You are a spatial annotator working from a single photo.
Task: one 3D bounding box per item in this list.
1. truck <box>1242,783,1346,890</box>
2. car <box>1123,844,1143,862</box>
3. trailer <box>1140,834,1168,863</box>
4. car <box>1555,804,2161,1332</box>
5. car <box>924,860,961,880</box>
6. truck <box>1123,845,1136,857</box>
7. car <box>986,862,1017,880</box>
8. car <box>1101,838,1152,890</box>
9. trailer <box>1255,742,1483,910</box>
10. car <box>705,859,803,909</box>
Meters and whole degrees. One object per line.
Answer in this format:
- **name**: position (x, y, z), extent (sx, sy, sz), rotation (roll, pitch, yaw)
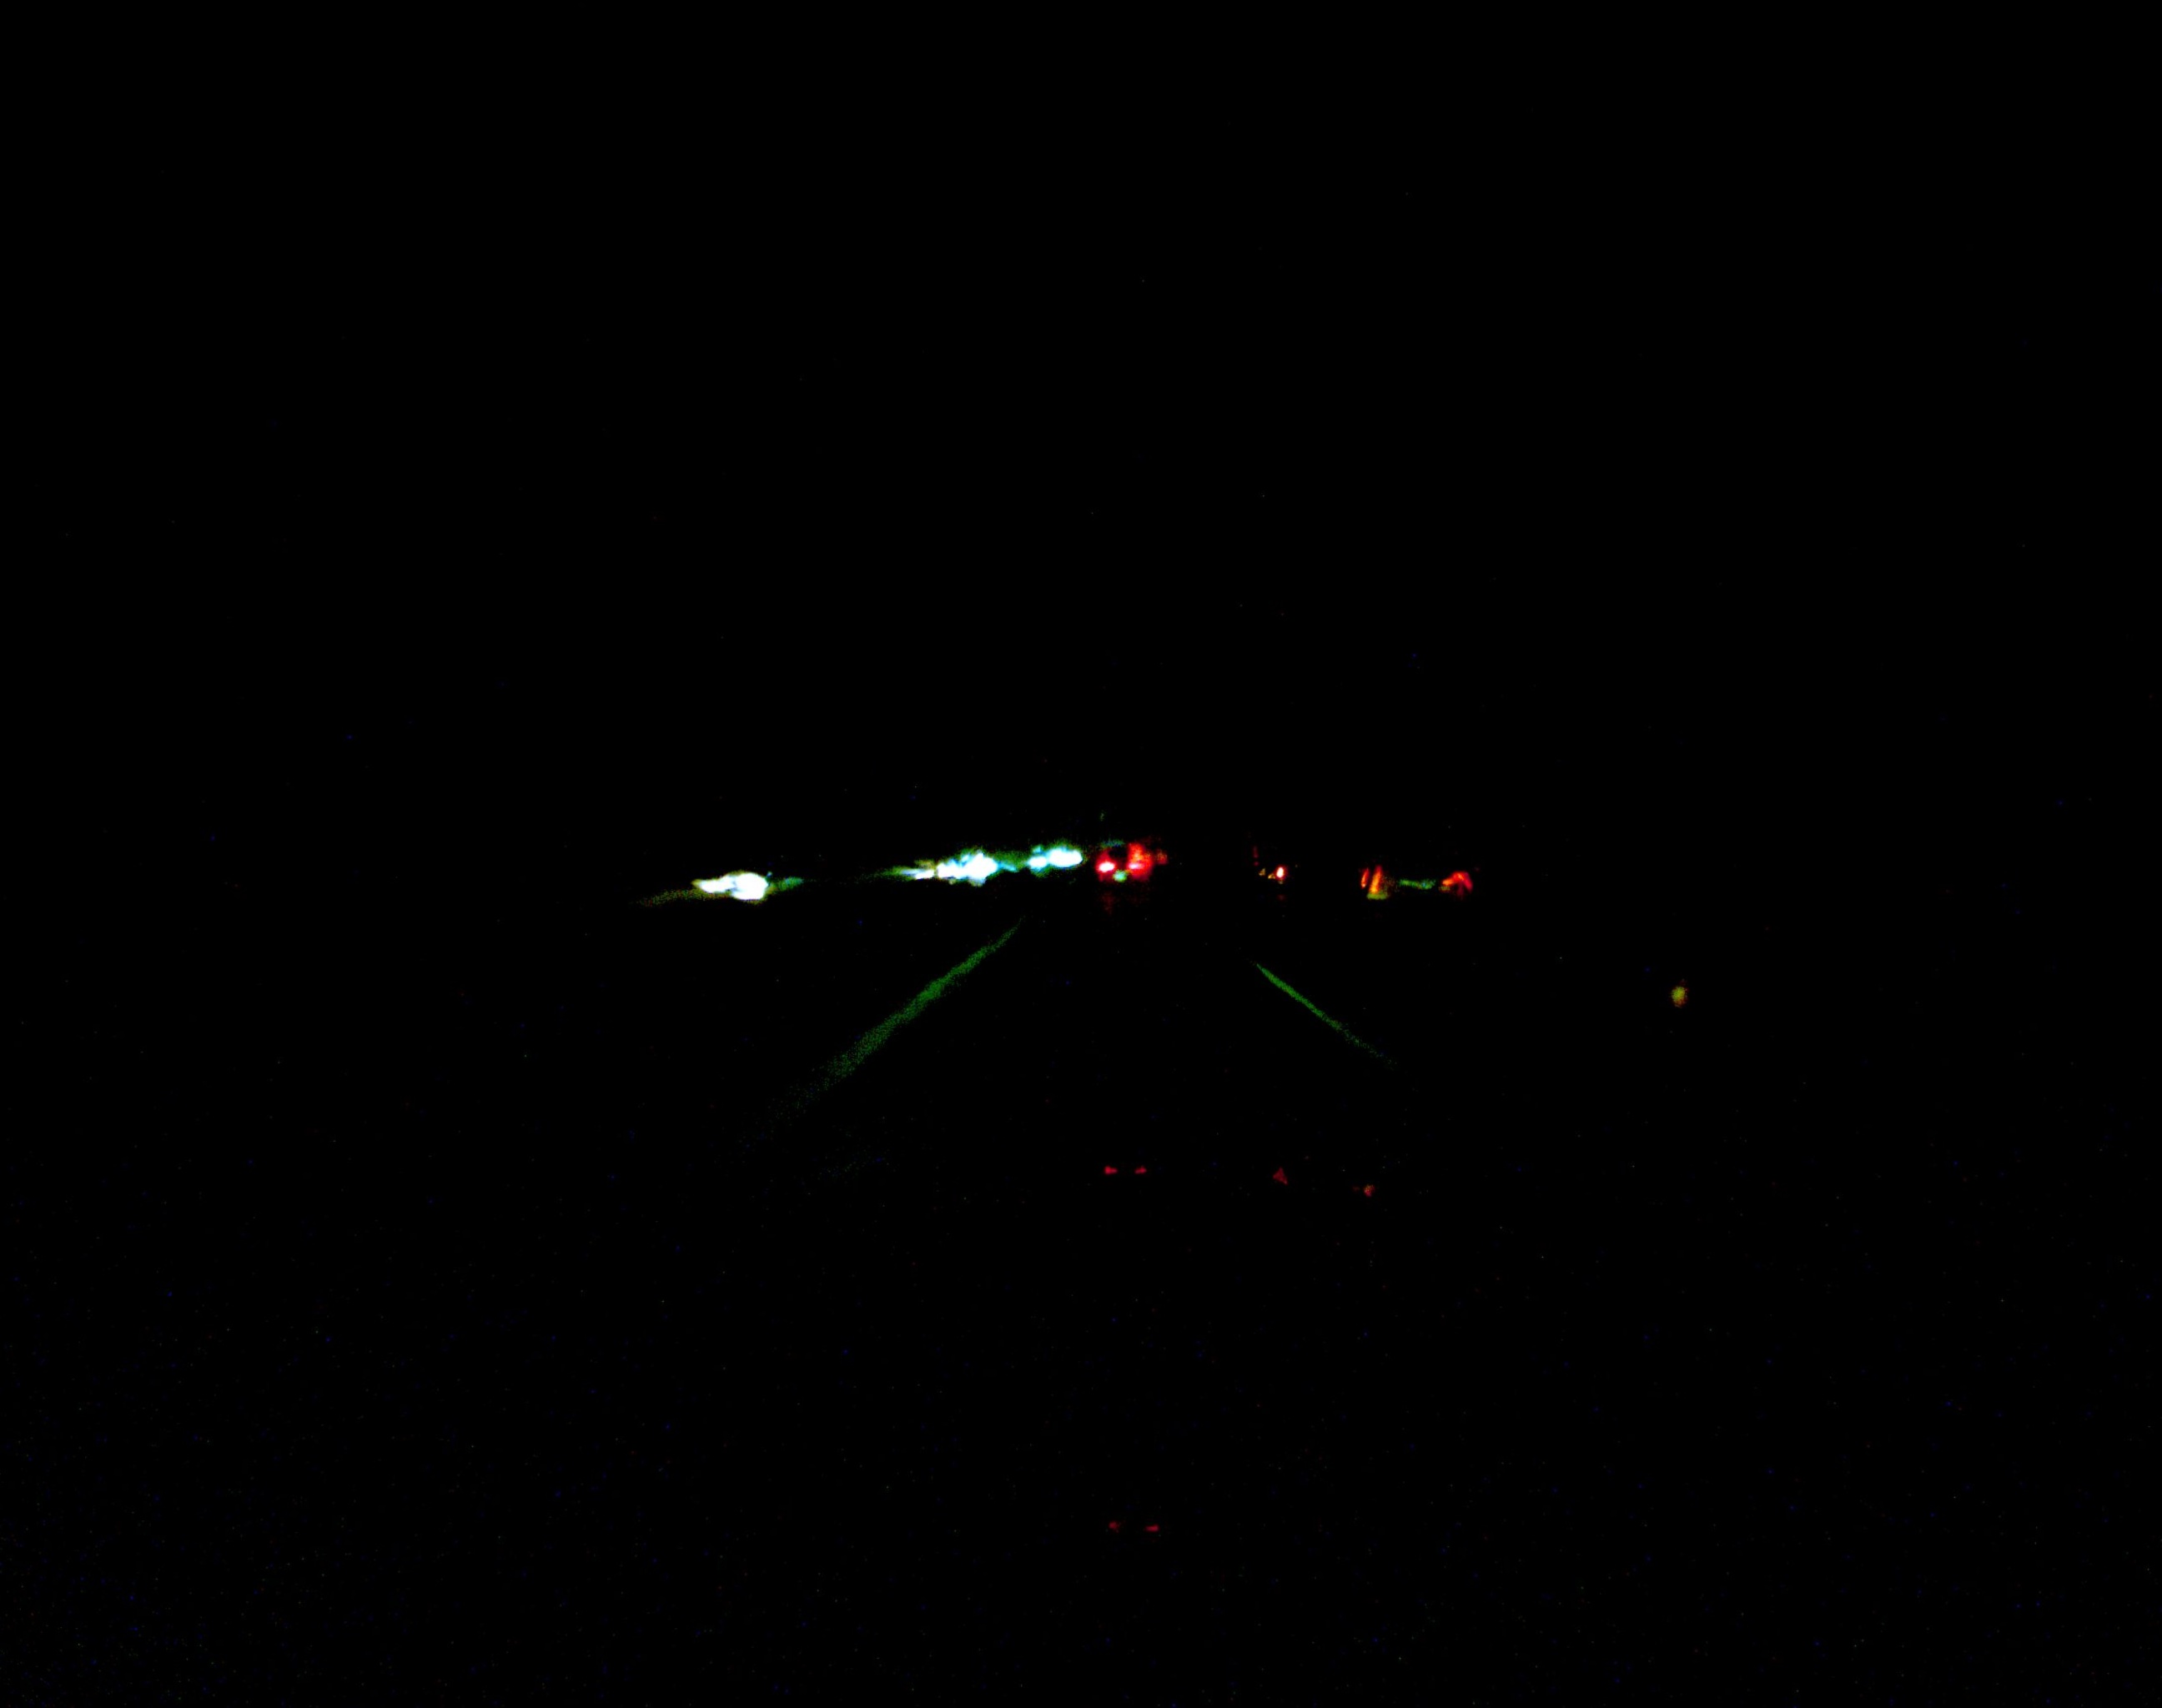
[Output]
- **truck**: position (9.022, -0.694, 35.236), extent (2.892, 4.108, 6.033), rotation (-3, 0, 1)
- **car**: position (6.227, -0.143, 98.004), extent (1.988, 2.013, 3.997), rotation (-3, -1, -2)
- **trailer**: position (11.367, -0.727, 128.553), extent (3.031, 4.108, 13.827), rotation (-3, -1, 0)
- **car**: position (4.102, 0.624, 3.359), extent (1.734, 1.575, 4.495), rotation (-1, 0, 1)
- **car**: position (-11.046, 1.229, 65.060), extent (1.986, 1.440, 4.439), rotation (-2, 0, 2)
- **truck**: position (13.873, -0.793, 235.226), extent (3.027, 3.297, 11.379), rotation (-3, -1, 0)
- **car**: position (-6.785, 1.431, 69.901), extent (1.986, 1.440, 4.439), rotation (-2, 0, 2)
- **car**: position (1.864, 0.412, 34.053), extent (1.986, 2.014, 4.001), rotation (-1, -1, 1)
- **trailer**: position (8.809, -0.714, 27.802), extent (2.892, 4.108, 14.492), rotation (-3, 0, 2)
- **car**: position (-15.032, 1.317, 37.844), extent (1.985, 2.013, 5.366), rotation (-2, 0, 4)
